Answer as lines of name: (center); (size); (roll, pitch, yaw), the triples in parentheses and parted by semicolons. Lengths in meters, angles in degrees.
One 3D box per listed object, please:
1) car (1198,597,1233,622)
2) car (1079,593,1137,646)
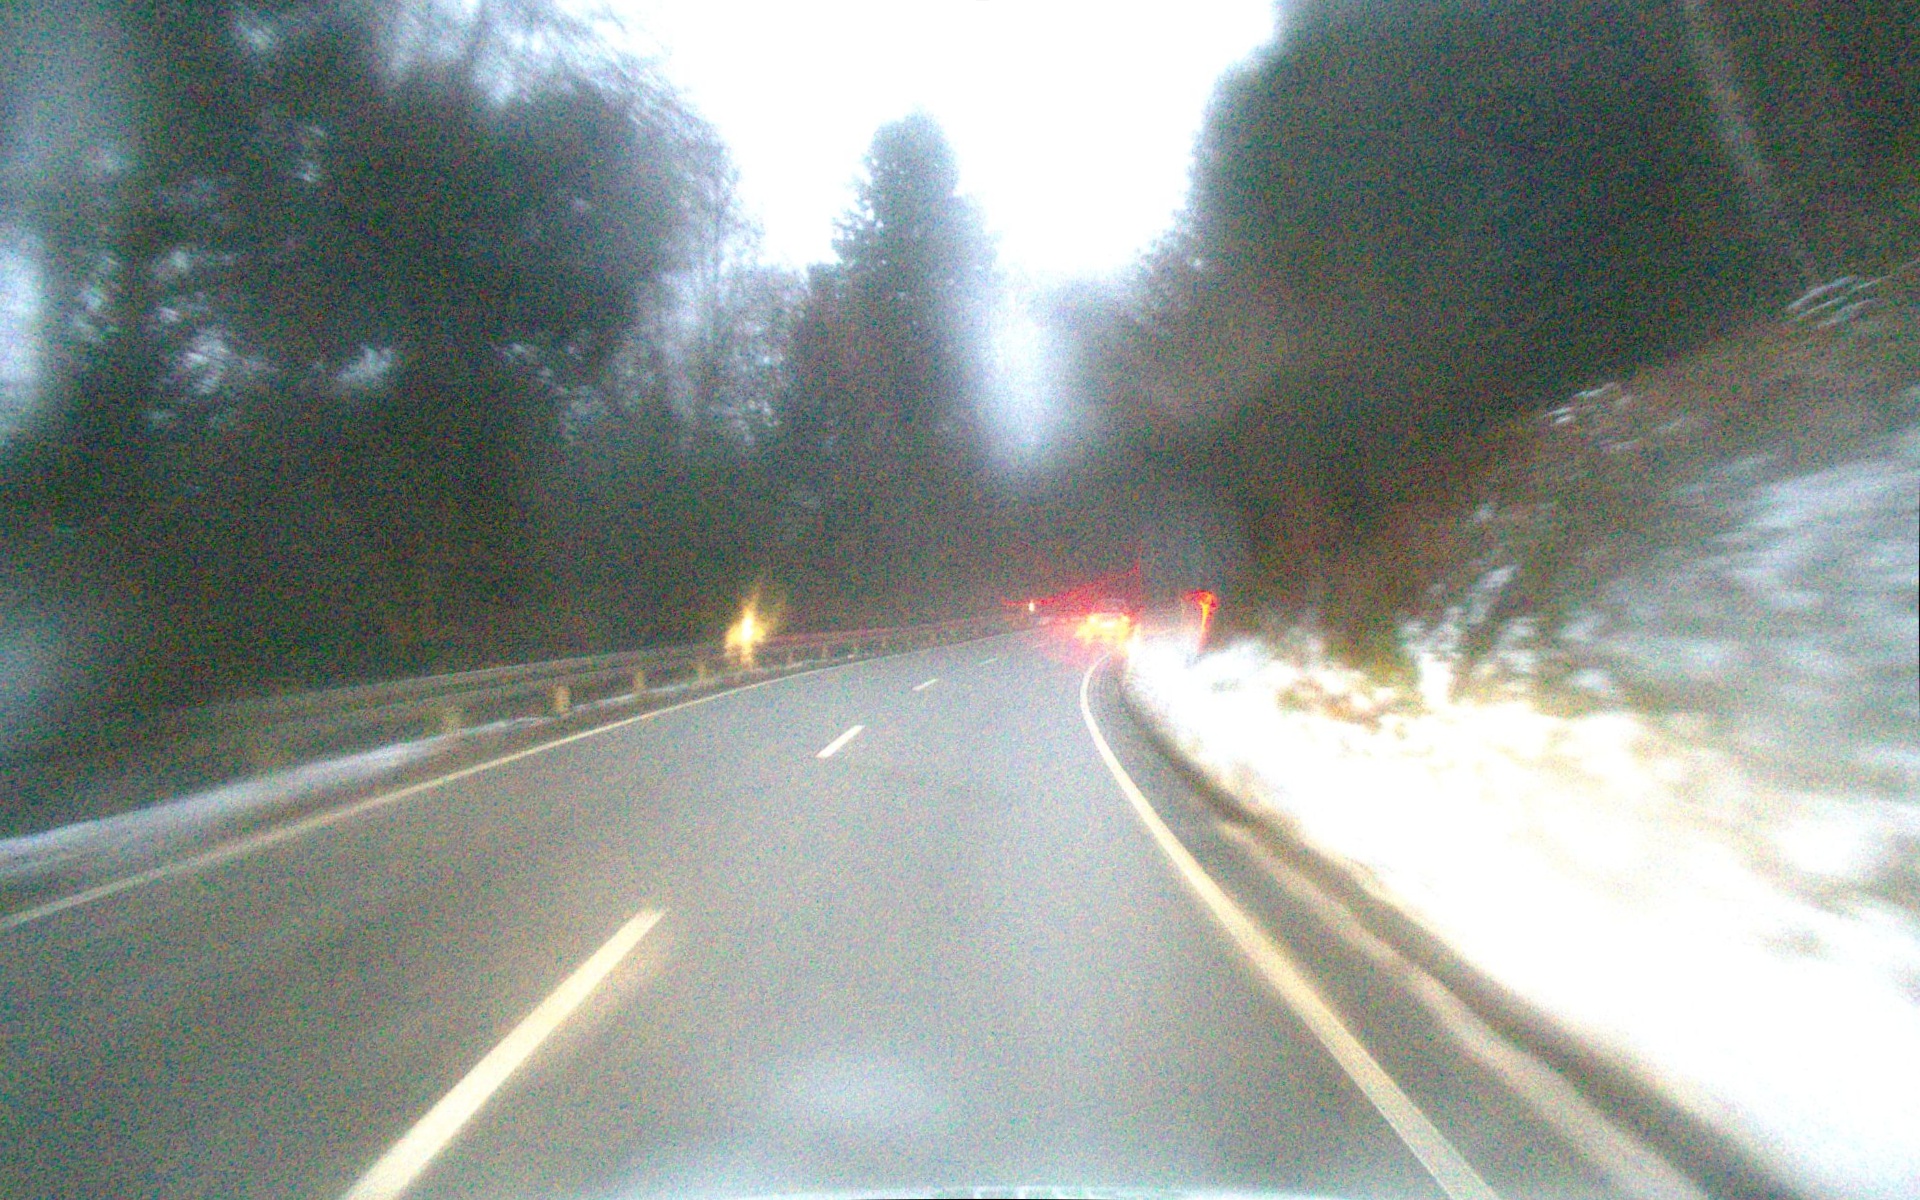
car: (14.755, 0.522, 95.355); (1.951, 1.333, 4.003); (-2, 0, 9)
car: (5.708, 0.726, 63.555); (1.951, 1.905, 4.003); (-2, 0, 8)
